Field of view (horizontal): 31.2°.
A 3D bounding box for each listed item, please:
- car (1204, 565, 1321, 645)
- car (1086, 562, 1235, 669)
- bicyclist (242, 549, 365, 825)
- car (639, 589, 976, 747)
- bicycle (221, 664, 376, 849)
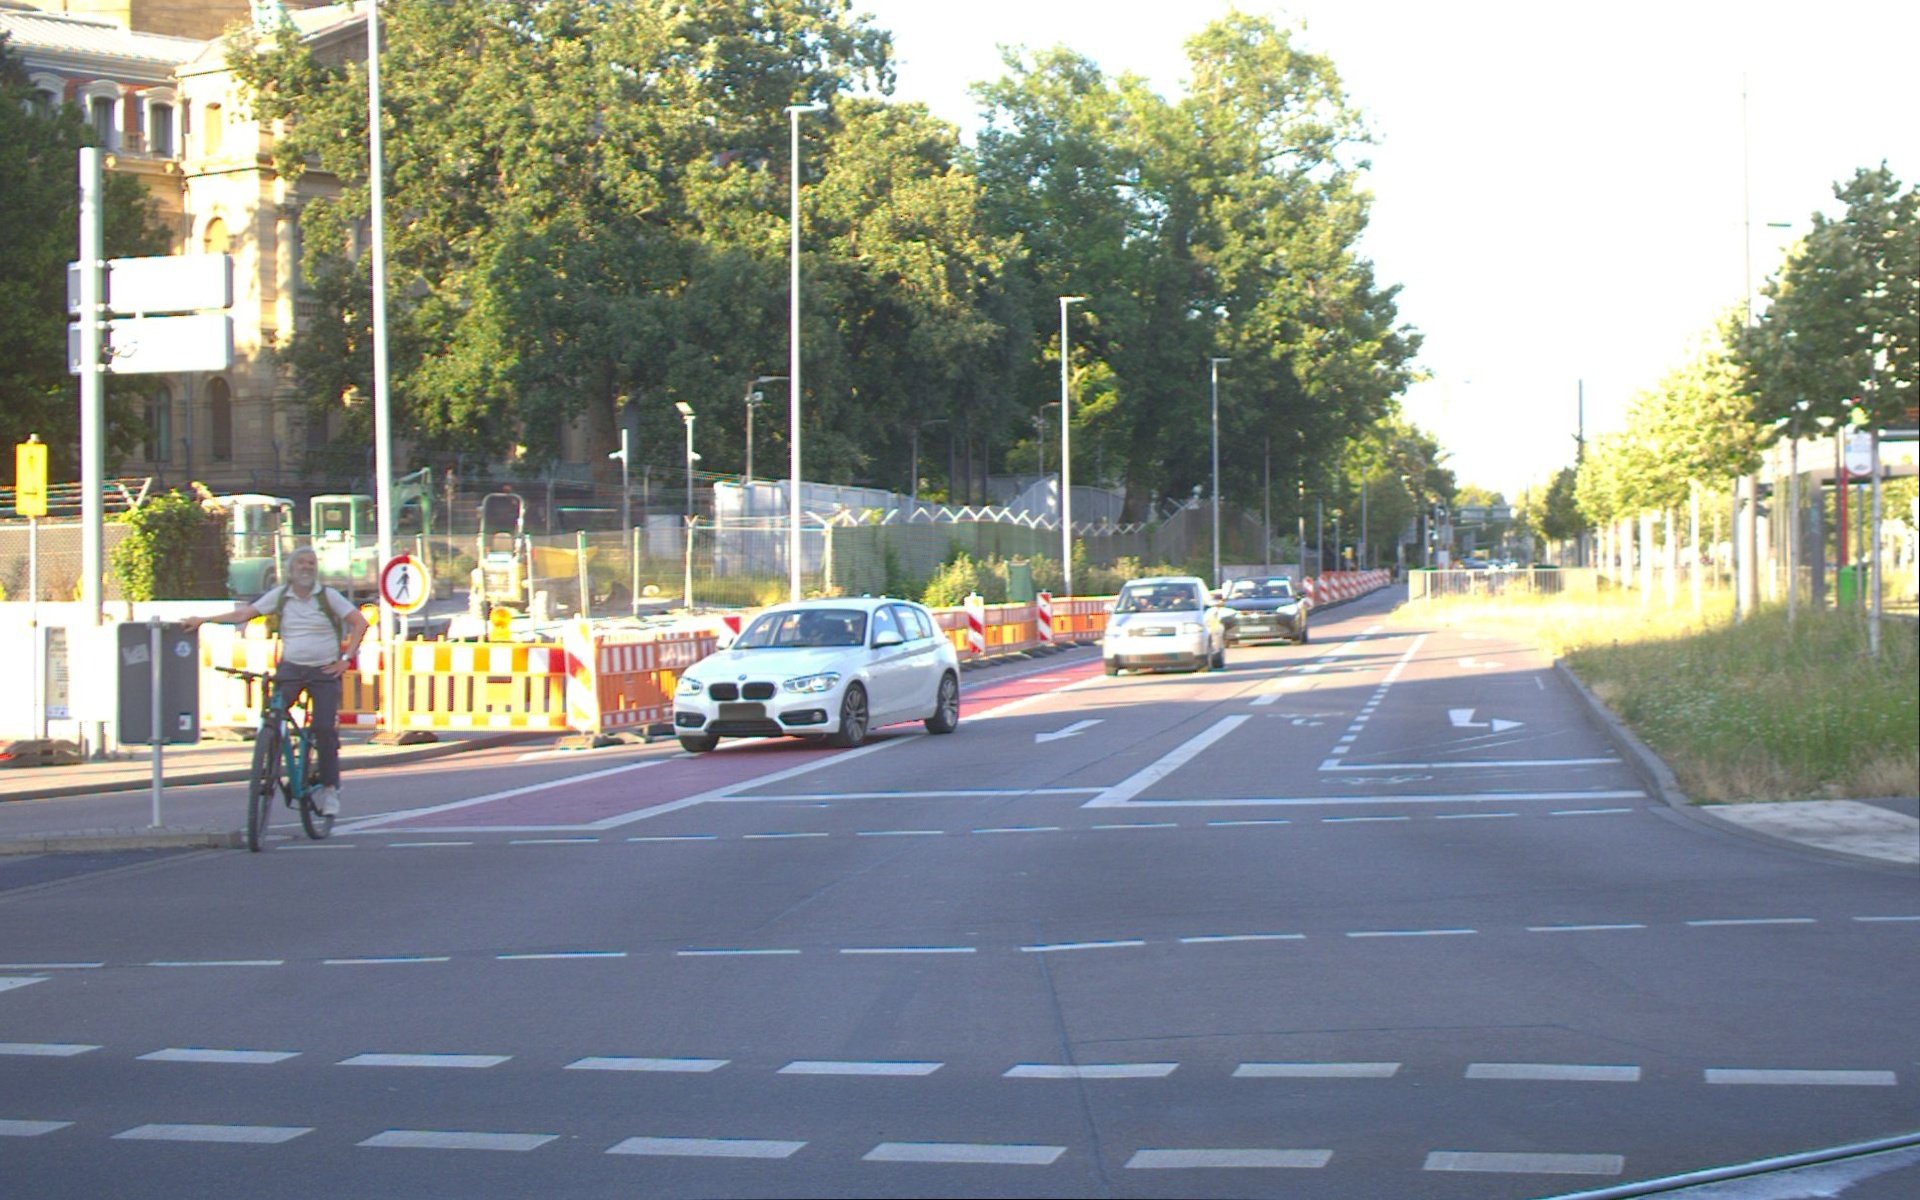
[{"bbox_3d":[6.474,0.088,73.190,1.939,1.612,4.390,-1,0,12],"label":"car"},{"bbox_3d":[3.210,0.240,54.364,1.676,1.556,3.724,-3,-1,13],"label":"car"},{"bbox_3d":[-4.043,0.524,21.200,0.594,1.665,0.748,-1,1,-1],"label":"bicyclist"},{"bbox_3d":[-1.434,0.641,34.294,1.912,1.401,4.300,-2,0,18],"label":"car"},{"bbox_3d":[-4.034,0.934,21.075,0.594,1.019,1.847,-1,1,-1],"label":"bicycle"}]
